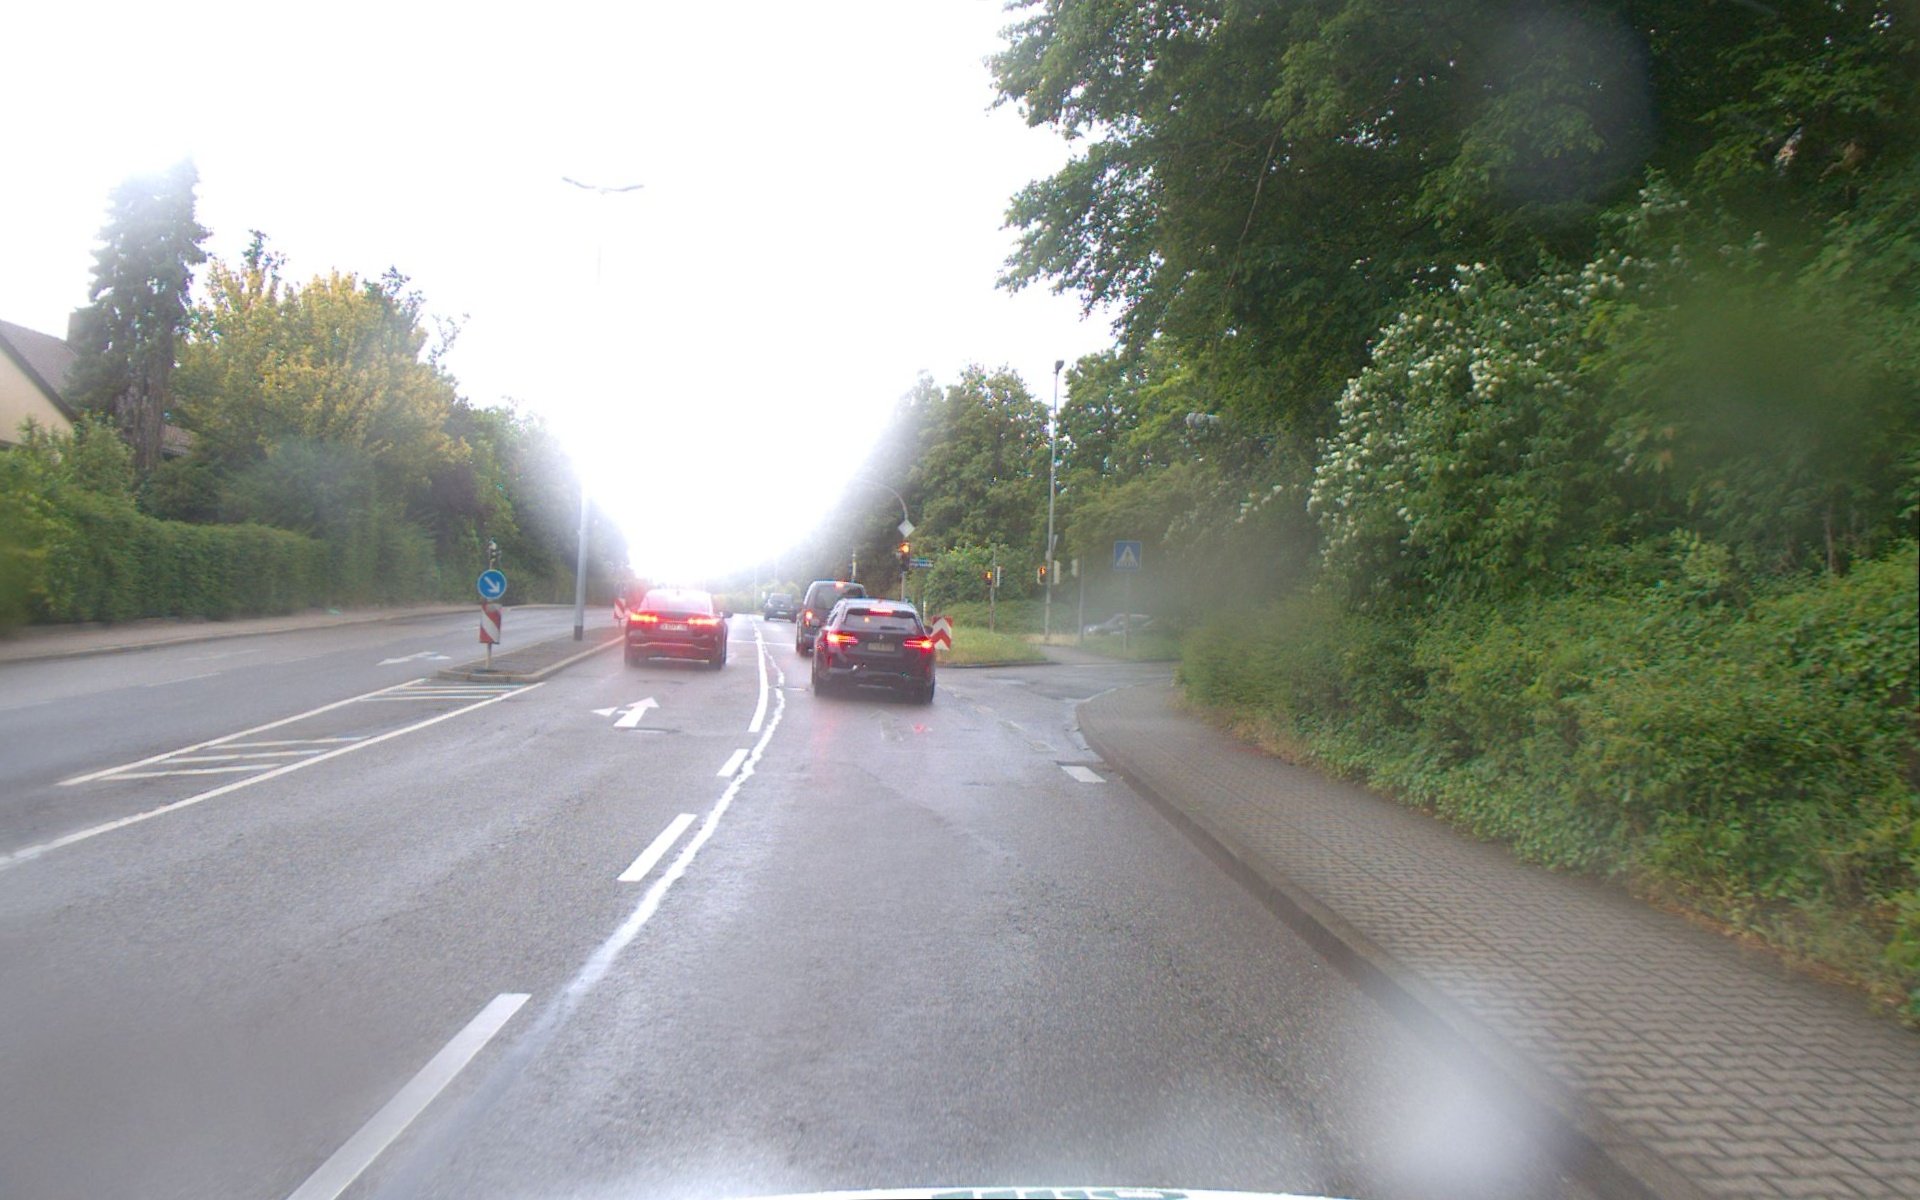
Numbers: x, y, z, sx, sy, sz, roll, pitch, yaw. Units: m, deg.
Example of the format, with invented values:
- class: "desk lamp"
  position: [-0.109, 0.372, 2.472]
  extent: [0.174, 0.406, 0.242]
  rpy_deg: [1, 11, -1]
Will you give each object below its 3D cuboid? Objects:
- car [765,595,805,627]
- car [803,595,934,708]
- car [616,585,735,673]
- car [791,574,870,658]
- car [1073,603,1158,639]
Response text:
- class: "car"
  position: [-9.343, 0.573, 88.085]
  extent: [1.957, 1.652, 3.944]
  rpy_deg: [1, 0, -9]
- class: "car"
  position: [-1.479, 0.801, 26.988]
  extent: [1.860, 1.578, 4.611]
  rpy_deg: [3, -1, -3]
- class: "car"
  position: [-5.428, 0.529, 31.986]
  extent: [1.955, 1.554, 4.322]
  rpy_deg: [1, 0, -6]
- class: "car"
  position: [-3.307, 0.385, 41.663]
  extent: [1.783, 1.901, 3.947]
  rpy_deg: [3, 0, -6]
- class: "car"
  position: [6.706, 0.905, 71.494]
  extent: [3.433, 1.452, 1.701]
  rpy_deg: [0, 1, -5]
